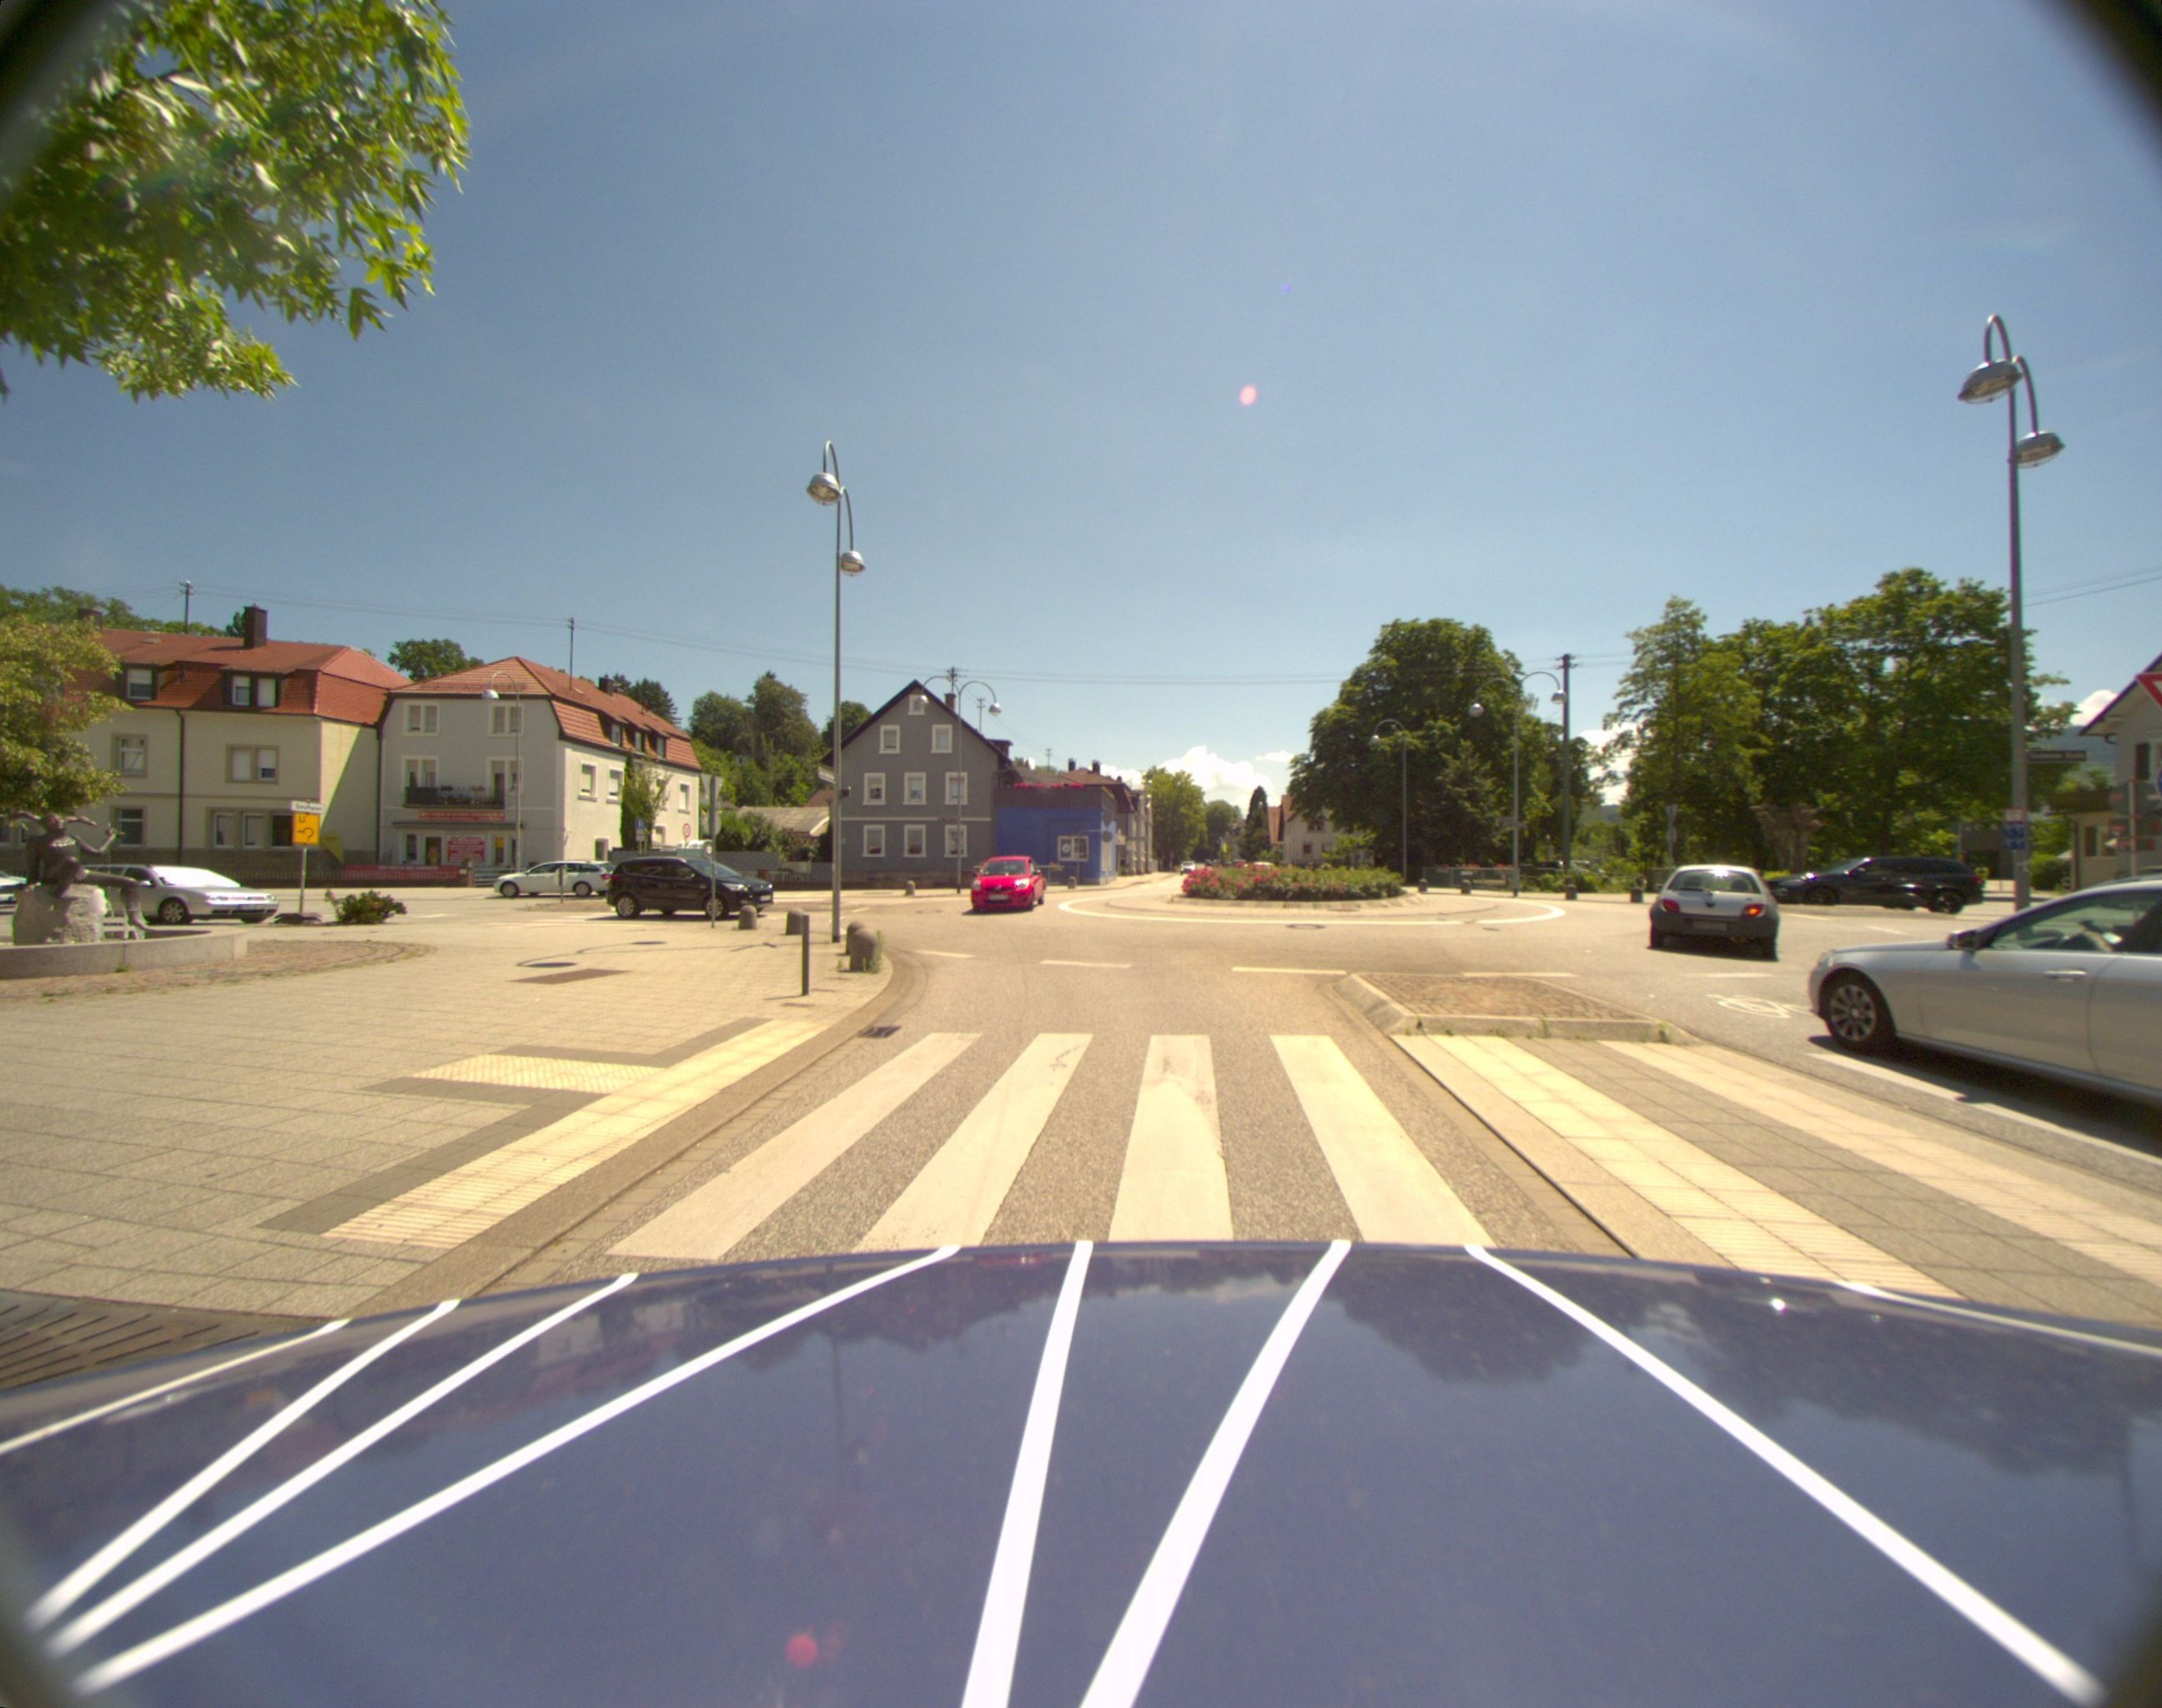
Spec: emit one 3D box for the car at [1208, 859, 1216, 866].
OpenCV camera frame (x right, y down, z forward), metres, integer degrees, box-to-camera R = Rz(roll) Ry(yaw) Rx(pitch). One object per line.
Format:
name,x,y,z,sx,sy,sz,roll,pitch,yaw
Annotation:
car,34.388,2.264,199.784,1.738,1.695,4.004,0,-3,5

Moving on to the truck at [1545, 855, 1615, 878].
truck,55.513,1.335,84.559,6.200,2.428,2.271,0,-3,41

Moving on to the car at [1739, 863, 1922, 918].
car,22.912,1.084,23.390,3.586,1.537,1.757,0,0,16

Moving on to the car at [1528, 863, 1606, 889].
car,32.034,1.412,50.196,1.845,1.592,3.992,1,0,-22

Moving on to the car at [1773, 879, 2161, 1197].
car,6.669,1.013,4.141,1.996,1.583,5.004,2,0,12

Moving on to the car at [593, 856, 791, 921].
car,-10.710,0.907,21.098,4.520,1.678,2.001,0,0,8

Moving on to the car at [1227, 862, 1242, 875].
car,25.086,2.403,124.337,1.997,2.001,4.005,2,-2,8

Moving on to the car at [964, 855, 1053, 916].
car,-1.996,0.876,22.038,1.833,1.523,4.002,-3,-1,5

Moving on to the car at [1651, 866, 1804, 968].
car,11.252,0.985,13.138,1.700,1.449,3.798,2,0,45

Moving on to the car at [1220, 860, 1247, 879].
car,13.535,1.356,67.745,1.997,1.553,4.169,3,0,7

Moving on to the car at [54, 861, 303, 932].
car,-21.797,1.018,18.464,3.996,1.580,1.803,1,-2,4

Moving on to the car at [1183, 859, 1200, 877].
car,13.318,1.733,91.738,1.997,2.001,4.005,2,-2,8

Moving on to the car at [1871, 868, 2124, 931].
car,26.796,1.316,22.408,4.611,1.575,1.951,2,-2,9

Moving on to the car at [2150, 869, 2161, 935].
car,26.556,1.137,16.617,4.711,1.469,1.998,2,0,-13

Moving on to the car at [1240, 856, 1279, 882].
car,12.116,1.006,51.788,1.931,1.374,4.286,-2,4,4

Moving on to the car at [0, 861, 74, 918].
car,-32.680,0.997,22.012,4.001,1.565,1.835,1,0,-10

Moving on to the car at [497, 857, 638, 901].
car,-20.888,0.988,31.072,4.286,1.576,1.997,0,4,-7
